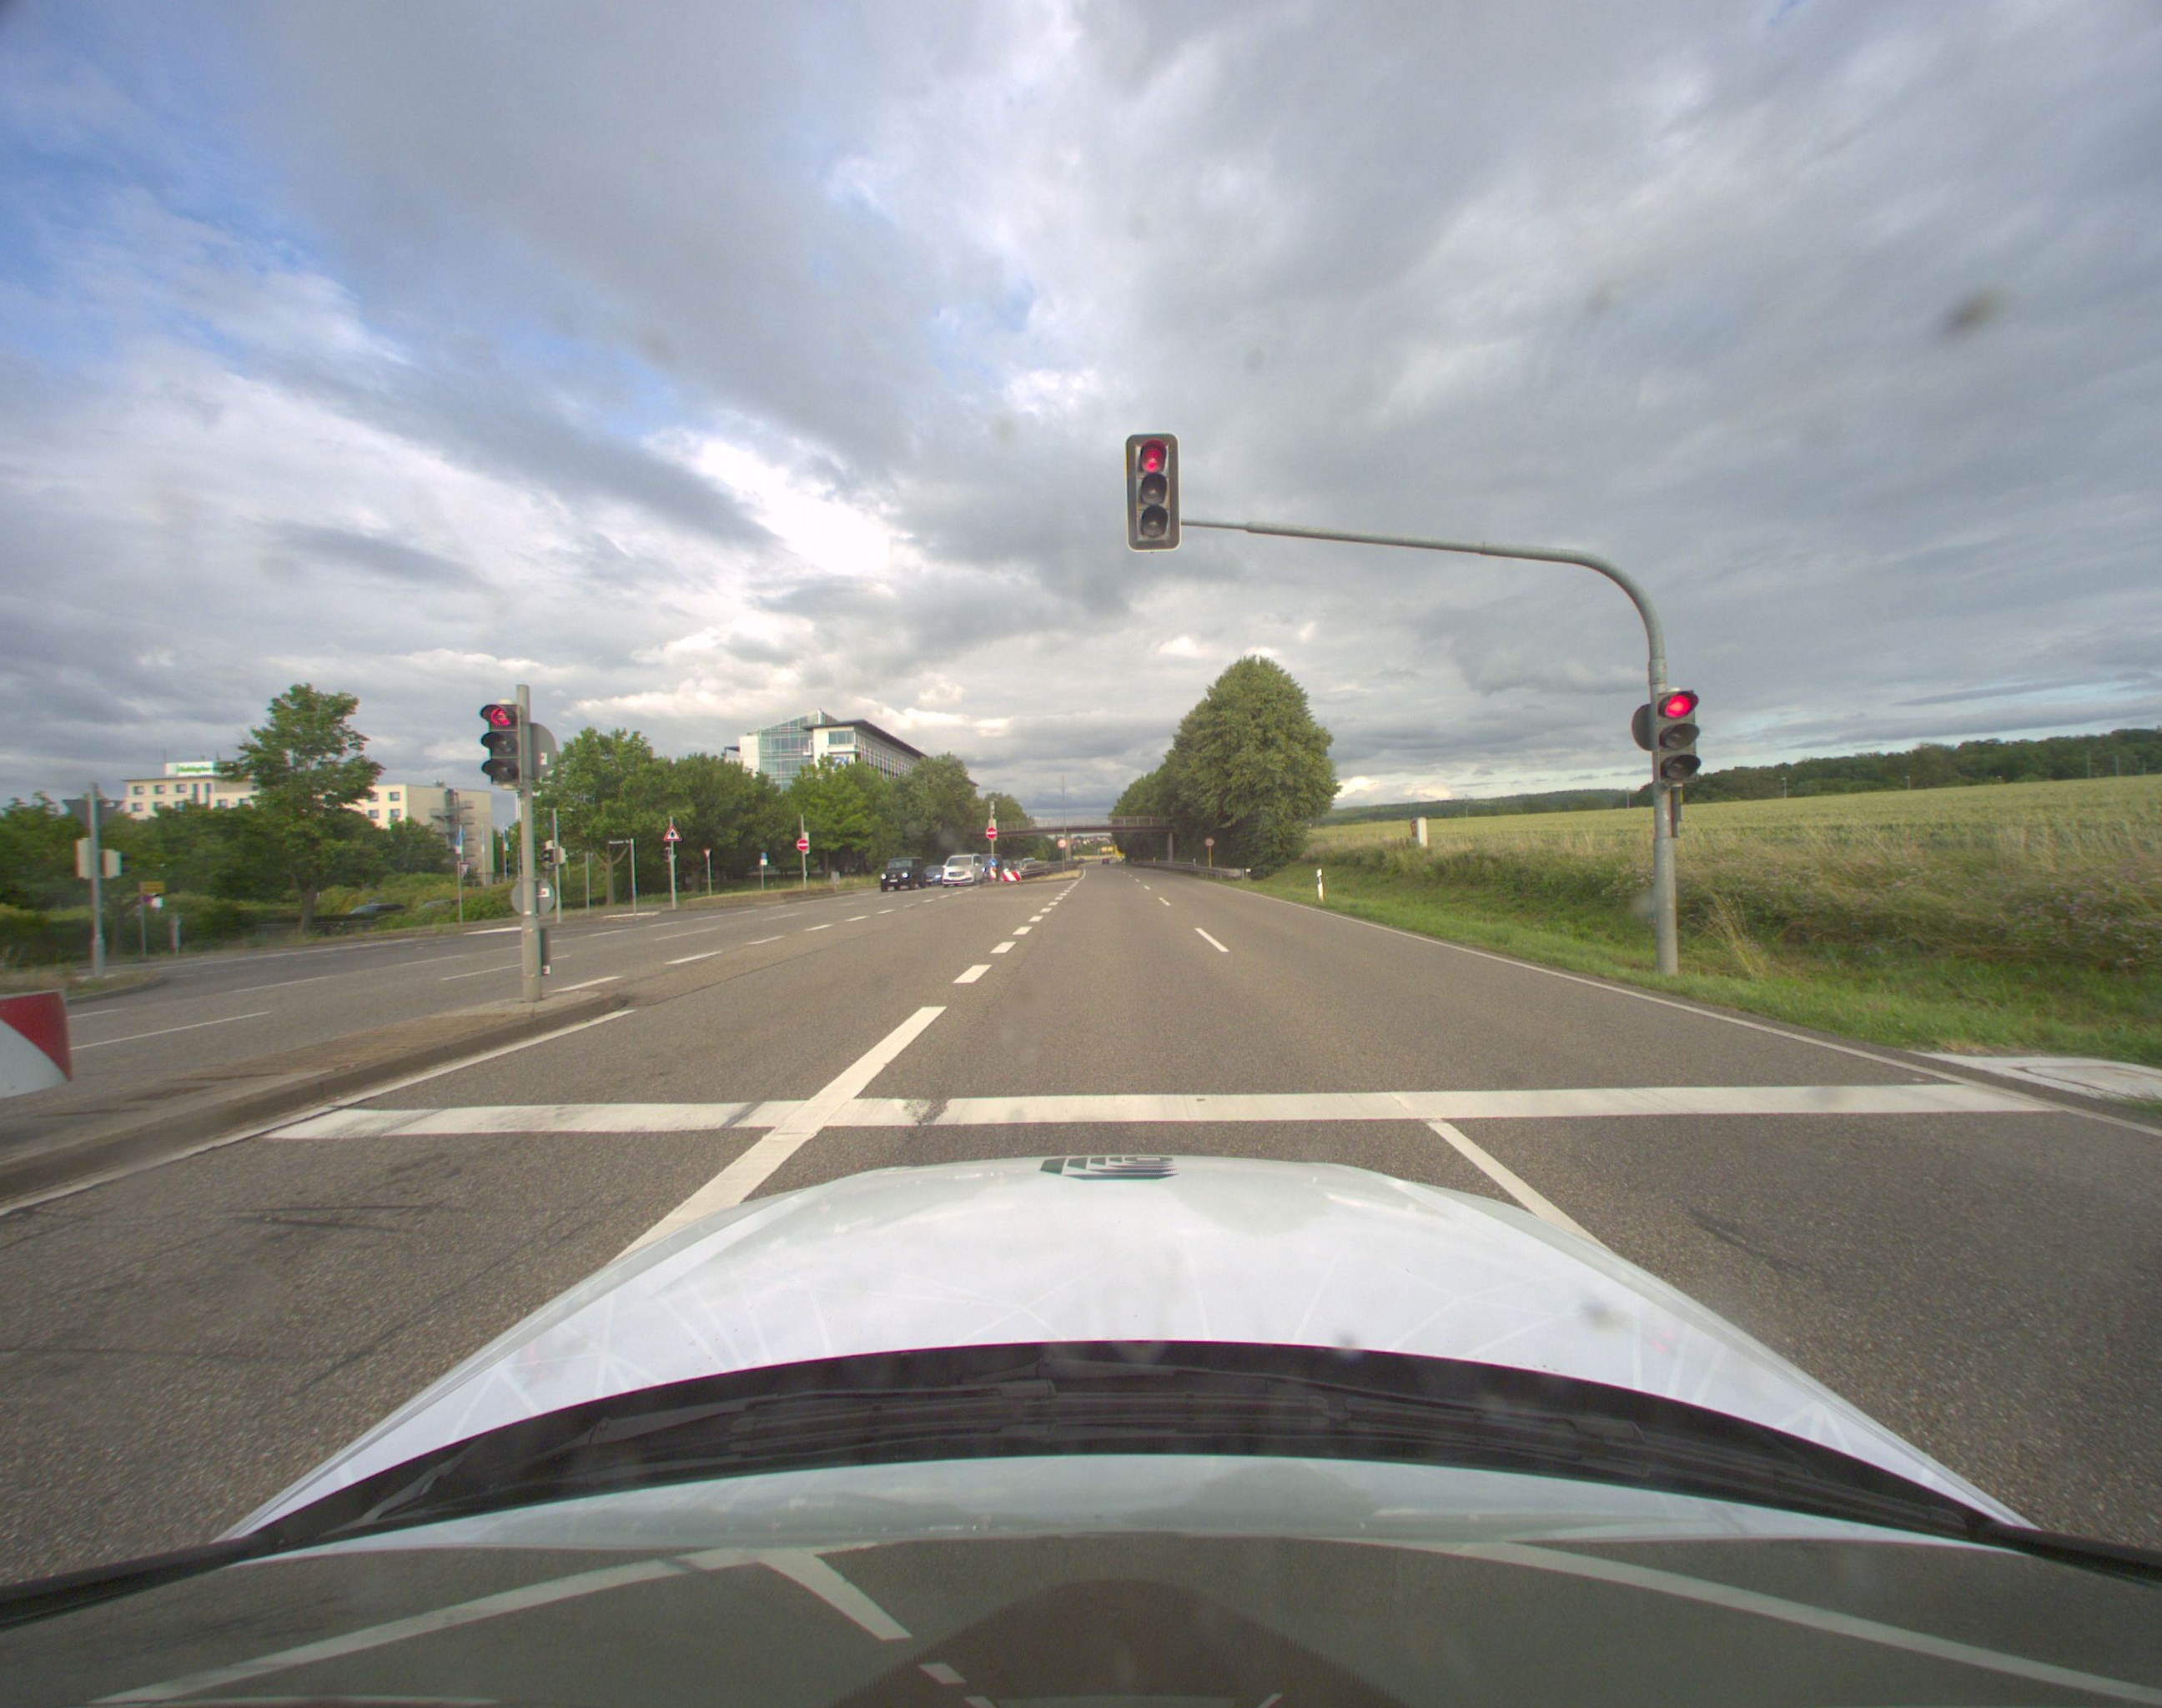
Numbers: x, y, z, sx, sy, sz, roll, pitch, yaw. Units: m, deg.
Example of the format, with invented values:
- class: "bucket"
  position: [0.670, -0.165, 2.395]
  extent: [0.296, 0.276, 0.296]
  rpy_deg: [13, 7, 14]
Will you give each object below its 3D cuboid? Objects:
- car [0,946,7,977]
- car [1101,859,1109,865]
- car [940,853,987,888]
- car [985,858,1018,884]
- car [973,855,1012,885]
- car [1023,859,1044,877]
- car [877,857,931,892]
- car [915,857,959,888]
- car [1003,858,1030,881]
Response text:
- class: "car"
  position: [-49.139, 4.873, 34.994]
  extent: [3.726, 1.342, 1.586]
  rpy_deg: [-5, 0, 0]
- class: "car"
  position: [6.170, 2.123, 210.279]
  extent: [1.874, 1.552, 3.997]
  rpy_deg: [0, -1, -2]
- class: "car"
  position: [-7.098, 0.969, 49.665]
  extent: [2.076, 2.014, 5.216]
  rpy_deg: [0, -1, 1]
- class: "car"
  position: [-6.263, 1.313, 64.955]
  extent: [2.076, 2.014, 5.216]
  rpy_deg: [0, -1, 1]
- class: "car"
  position: [-6.180, 1.077, 57.384]
  extent: [2.076, 2.014, 5.216]
  rpy_deg: [0, -1, 1]
- class: "car"
  position: [-5.372, 1.558, 92.736]
  extent: [2.076, 2.014, 5.216]
  rpy_deg: [0, -1, 1]
- class: "car"
  position: [-10.719, 1.192, 49.640]
  extent: [2.076, 2.014, 5.216]
  rpy_deg: [0, -1, 1]
- class: "car"
  position: [-10.021, 1.257, 57.128]
  extent: [2.076, 2.014, 5.216]
  rpy_deg: [0, -1, 1]
- class: "car"
  position: [-5.993, 1.410, 75.935]
  extent: [2.076, 2.014, 5.216]
  rpy_deg: [0, -1, 1]
